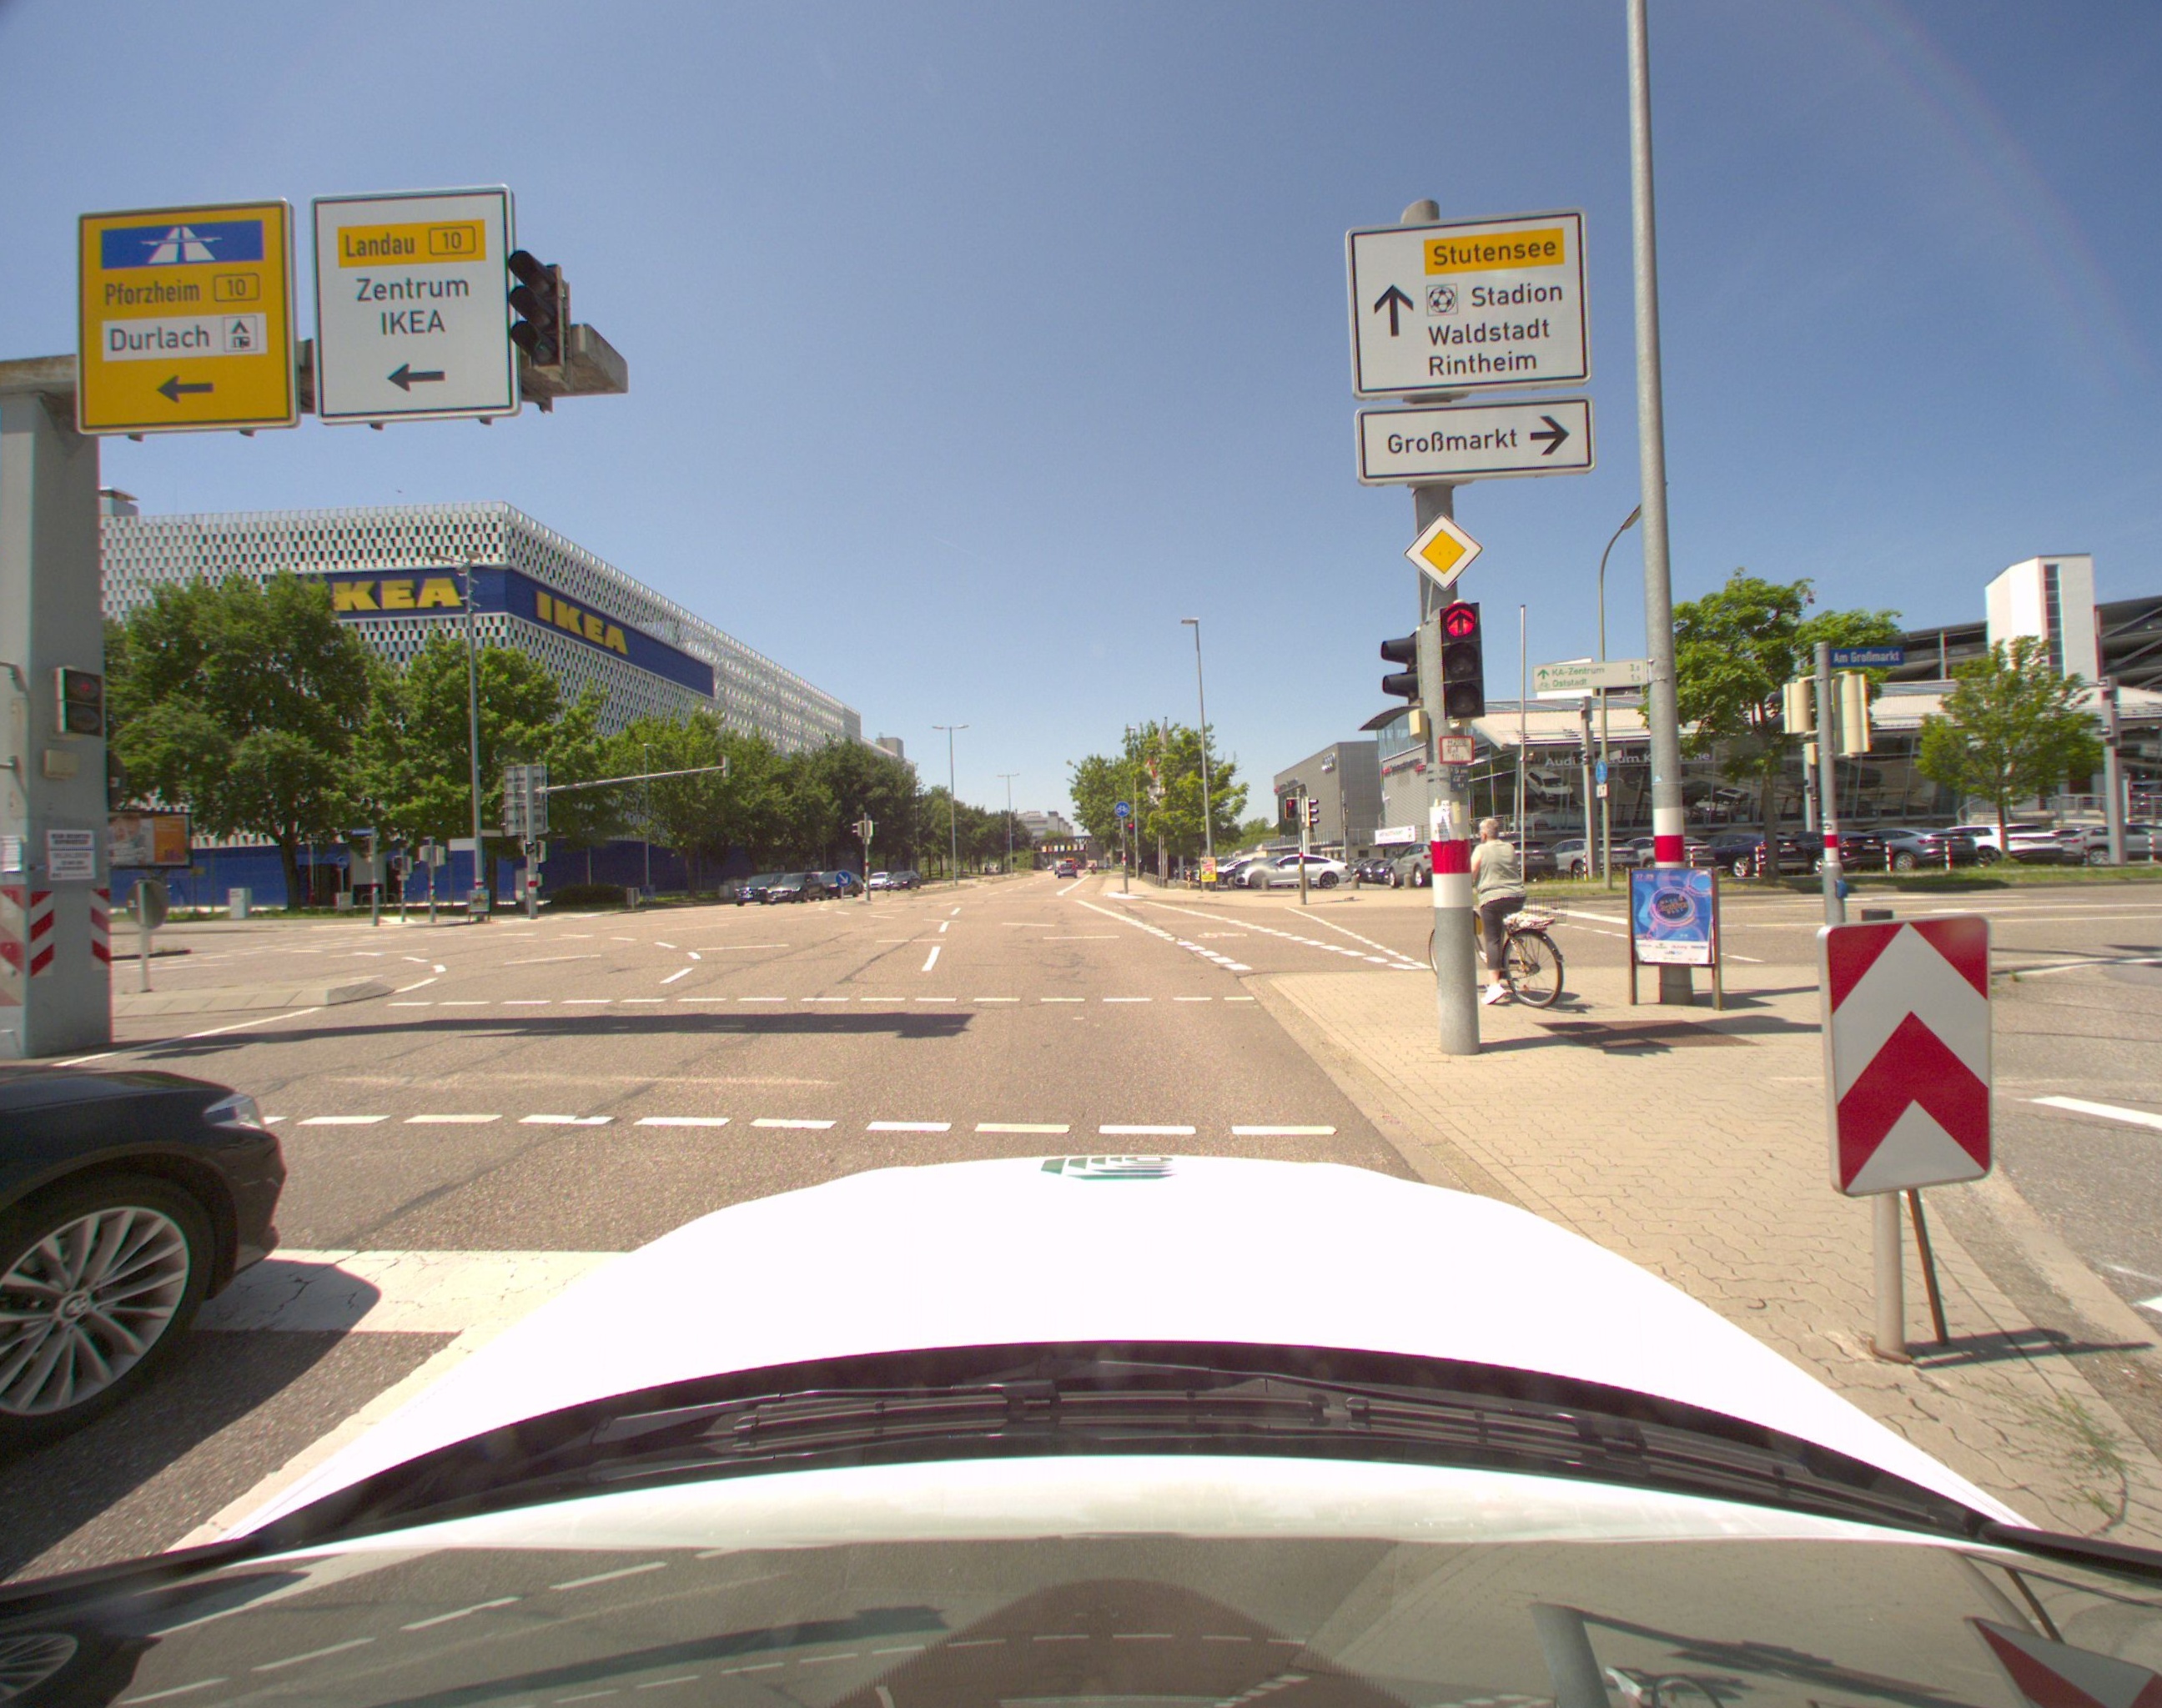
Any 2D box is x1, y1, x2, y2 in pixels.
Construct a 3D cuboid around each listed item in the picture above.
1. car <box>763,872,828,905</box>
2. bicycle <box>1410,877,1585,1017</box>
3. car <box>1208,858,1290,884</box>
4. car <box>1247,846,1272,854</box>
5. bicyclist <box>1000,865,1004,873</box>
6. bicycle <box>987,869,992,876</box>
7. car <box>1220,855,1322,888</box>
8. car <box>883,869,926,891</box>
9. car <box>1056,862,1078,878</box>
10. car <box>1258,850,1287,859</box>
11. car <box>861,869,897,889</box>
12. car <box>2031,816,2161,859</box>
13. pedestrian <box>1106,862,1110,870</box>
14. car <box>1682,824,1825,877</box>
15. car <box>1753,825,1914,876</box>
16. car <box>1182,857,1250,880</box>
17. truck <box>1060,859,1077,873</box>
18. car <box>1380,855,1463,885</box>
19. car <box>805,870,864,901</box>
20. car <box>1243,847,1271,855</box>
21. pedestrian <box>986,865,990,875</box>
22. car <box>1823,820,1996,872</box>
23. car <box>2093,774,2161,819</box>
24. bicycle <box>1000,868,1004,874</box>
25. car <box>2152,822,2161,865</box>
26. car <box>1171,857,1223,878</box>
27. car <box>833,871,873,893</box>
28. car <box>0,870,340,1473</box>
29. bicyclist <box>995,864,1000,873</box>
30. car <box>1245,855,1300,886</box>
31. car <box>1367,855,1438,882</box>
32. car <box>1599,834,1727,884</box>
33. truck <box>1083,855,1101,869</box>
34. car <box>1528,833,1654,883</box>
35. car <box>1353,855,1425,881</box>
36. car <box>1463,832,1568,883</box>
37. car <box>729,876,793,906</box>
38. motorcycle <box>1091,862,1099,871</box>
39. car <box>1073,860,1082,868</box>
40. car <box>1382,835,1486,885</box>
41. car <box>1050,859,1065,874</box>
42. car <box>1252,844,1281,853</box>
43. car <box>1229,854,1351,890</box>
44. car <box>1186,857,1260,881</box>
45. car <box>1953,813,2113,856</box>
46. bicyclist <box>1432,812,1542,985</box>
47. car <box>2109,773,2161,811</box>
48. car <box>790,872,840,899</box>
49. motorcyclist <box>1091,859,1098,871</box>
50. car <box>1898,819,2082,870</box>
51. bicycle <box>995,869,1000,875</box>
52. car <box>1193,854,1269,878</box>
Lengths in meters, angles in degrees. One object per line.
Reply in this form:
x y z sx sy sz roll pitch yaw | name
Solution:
-13.693 1.636 39.274 1.637 1.389 3.717 -4 -1 2 | car
3.977 0.827 7.968 0.626 1.133 1.892 -1 0 -4 | bicycle
8.950 0.909 43.622 4.081 1.364 1.875 0 -1 1 | car
27.328 -0.585 124.618 3.515 1.239 1.675 0 -1 -3 | car
-16.060 3.047 165.456 0.631 1.629 1.045 -4 -1 1 | bicyclist
-16.925 3.408 150.716 0.636 1.134 1.968 -2 -1 -4 | bicycle
8.262 0.748 35.623 4.081 1.390 1.869 0 -1 1 | car
-13.115 1.922 60.757 1.718 1.446 4.725 -4 -1 4 | car
-1.326 1.550 79.170 1.894 1.376 4.232 -2 -1 1 | car
27.210 0.061 115.520 3.716 1.130 1.682 0 -1 -3 | car
-16.333 2.035 65.923 1.737 1.486 4.001 -3 -1 2 | car
39.658 -0.645 30.713 4.531 1.471 1.925 -3 -1 26 | car
4.569 2.086 139.752 0.621 1.374 0.564 -2 -1 0 | pedestrian
23.114 -0.088 28.192 1.624 1.654 3.907 -1 -1 -2 | car
25.892 -0.092 28.236 1.840 1.654 3.994 0 -1 -2 | car
8.613 0.916 52.108 4.085 1.405 1.869 0 -1 1 | car
-2.120 1.998 137.438 2.449 2.410 7.136 0 -1 2 | truck
18.974 0.880 45.444 3.970 1.622 1.657 0 -1 1 | car
-13.682 1.715 45.411 1.720 1.505 4.245 -4 -1 2 | car
27.789 -0.446 128.883 3.977 1.312 1.795 0 -1 -3 | car
-18.407 3.181 161.548 0.741 1.884 0.578 -2 -1 2 | pedestrian
28.482 -0.227 28.196 1.840 1.654 3.994 0 -1 -2 | car
45.775 -2.477 33.936 4.552 1.707 1.916 -2 -1 4 | car
-16.026 3.537 165.533 0.627 1.159 2.118 -4 -1 1 | bicycle
39.492 -0.470 26.910 4.558 1.471 1.861 -3 0 26 | car
8.540 0.992 60.282 3.668 1.453 1.834 0 -1 1 | car
-16.496 2.000 59.184 1.643 1.486 3.916 -3 -1 2 | car
-3.536 0.783 0.573 1.791 1.440 4.557 -2 0 1 | car
-15.840 2.811 153.869 0.742 1.686 0.952 -2 -1 1 | bicyclist
9.249 0.795 39.717 1.855 1.420 4.667 0 -1 4 | car
19.156 0.851 48.670 3.634 1.580 1.643 0 -1 1 | car
20.188 0.143 28.434 1.632 1.616 3.815 -1 1 -2 | car
2.301 1.707 169.749 2.597 2.850 5.634 -1 -1 13 | truck
17.884 0.165 28.786 1.840 1.654 3.994 0 -1 -2 | car
19.267 0.862 51.067 3.967 1.573 1.634 0 -1 1 | car
15.099 0.144 28.571 1.836 1.654 4.003 0 -1 5 | car
-16.810 1.915 42.977 1.654 1.424 4.039 -3 -1 2 | car
1.780 1.646 106.077 0.716 1.105 1.825 0 -1 -8 | motorcycle
-0.942 2.781 217.474 1.984 2.013 4.005 -3 -1 5 | car
12.409 0.268 28.999 1.860 1.558 4.506 -3 -2 3 | car
-3.455 1.857 120.539 1.986 2.014 4.000 -2 -1 1 | car
27.382 -0.863 120.435 3.930 1.211 1.715 -1 -1 -3 | car
8.443 0.714 33.200 4.574 1.390 1.870 0 -1 2 | car
8.545 0.912 49.219 4.210 1.390 1.869 0 -1 1 | car
39.900 -0.777 34.287 3.947 1.571 1.862 -3 -1 31 | car
3.969 0.412 8.020 0.626 1.606 0.824 0 -1 -4 | bicyclist
53.479 -3.106 39.475 1.905 1.722 4.142 -2 0 -5 | car
-16.671 1.936 51.188 1.720 1.544 3.916 -3 -1 2 | car
1.768 1.432 106.166 0.719 1.529 0.868 0 -1 -8 | motorcyclist
31.201 -0.283 28.148 1.840 1.654 3.994 0 -1 -2 | car
-15.818 3.342 153.985 0.737 1.125 2.434 -2 -1 1 | bicycle
8.506 0.680 46.437 4.084 1.349 1.869 0 -1 1 | car
